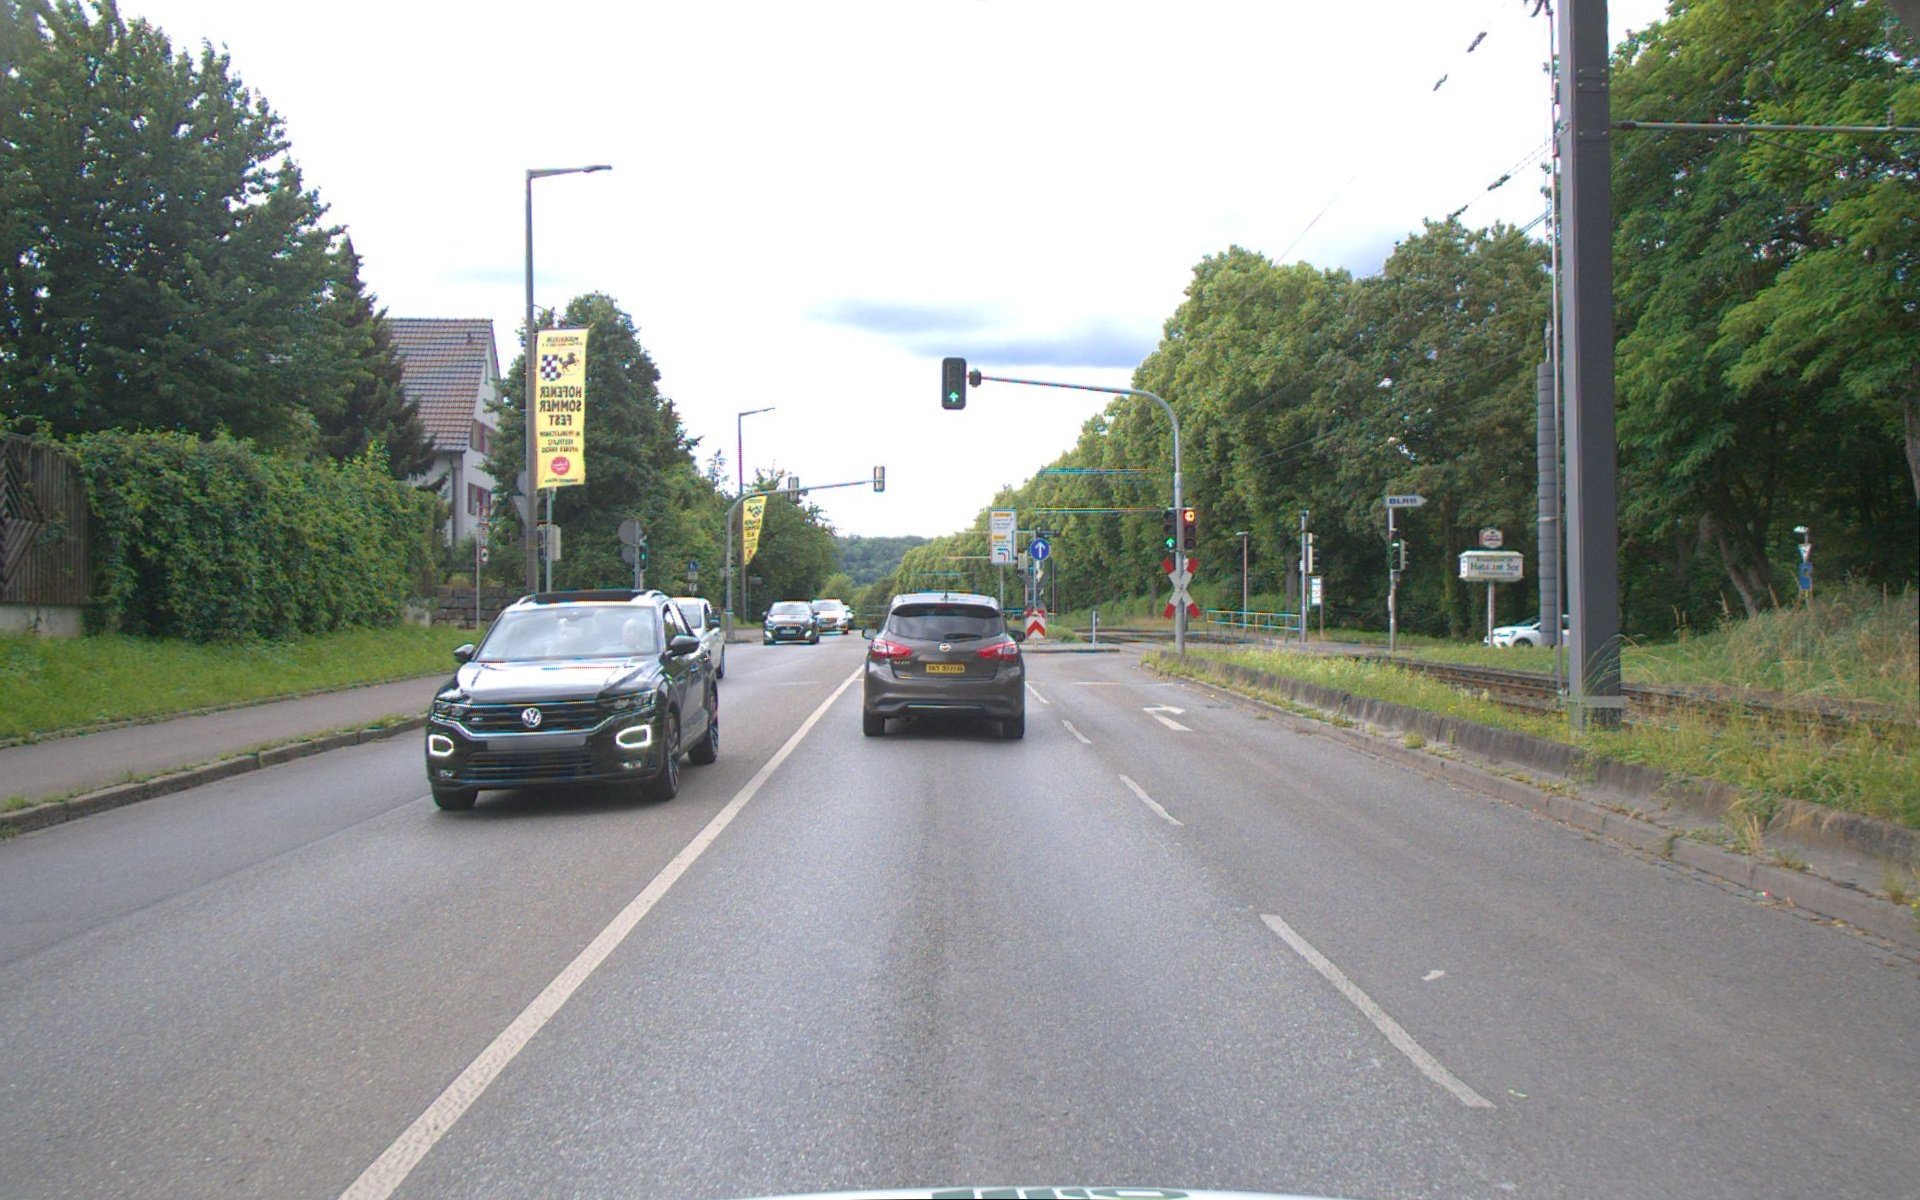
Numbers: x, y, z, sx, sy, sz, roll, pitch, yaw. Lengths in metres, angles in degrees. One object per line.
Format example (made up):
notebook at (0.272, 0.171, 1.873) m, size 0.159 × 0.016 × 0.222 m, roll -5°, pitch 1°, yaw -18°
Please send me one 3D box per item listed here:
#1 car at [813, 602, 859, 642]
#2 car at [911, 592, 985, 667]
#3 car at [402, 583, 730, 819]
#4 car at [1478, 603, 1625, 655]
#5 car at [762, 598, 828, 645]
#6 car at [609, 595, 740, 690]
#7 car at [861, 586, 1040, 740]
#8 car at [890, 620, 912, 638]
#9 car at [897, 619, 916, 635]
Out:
car at (-5.338, 0.934, 71.715) m, size 1.782 × 1.594 × 5.202 m, roll 1°, pitch 0°, yaw -3°
car at (-0.276, 0.609, 36.258) m, size 1.507 × 1.504 × 3.763 m, roll -2°, pitch 0°, yaw -1°
car at (-2.990, 0.679, 13.434) m, size 1.776 × 1.550 × 4.175 m, roll -2°, pitch 0°, yaw -3°
car at (18.890, 0.925, 52.899) m, size 3.911 × 1.377 × 1.997 m, roll 4°, pitch 0°, yaw -7°
car at (-5.574, 0.702, 56.234) m, size 1.775 × 1.396 × 4.160 m, roll 3°, pitch 0°, yaw 0°
car at (-5.198, 0.725, 30.679) m, size 1.776 × 1.550 × 4.698 m, roll -2°, pitch 0°, yaw -3°
car at (-0.122, 0.630, 19.215) m, size 1.798 × 1.545 × 4.482 m, roll 1°, pitch 0°, yaw -1°
car at (-4.755, 2.336, 133.466) m, size 1.707 × 1.333 × 3.998 m, roll 2°, pitch 0°, yaw -3°
car at (-4.863, 2.416, 150.062) m, size 1.707 × 1.333 × 3.998 m, roll 2°, pitch 0°, yaw -3°
